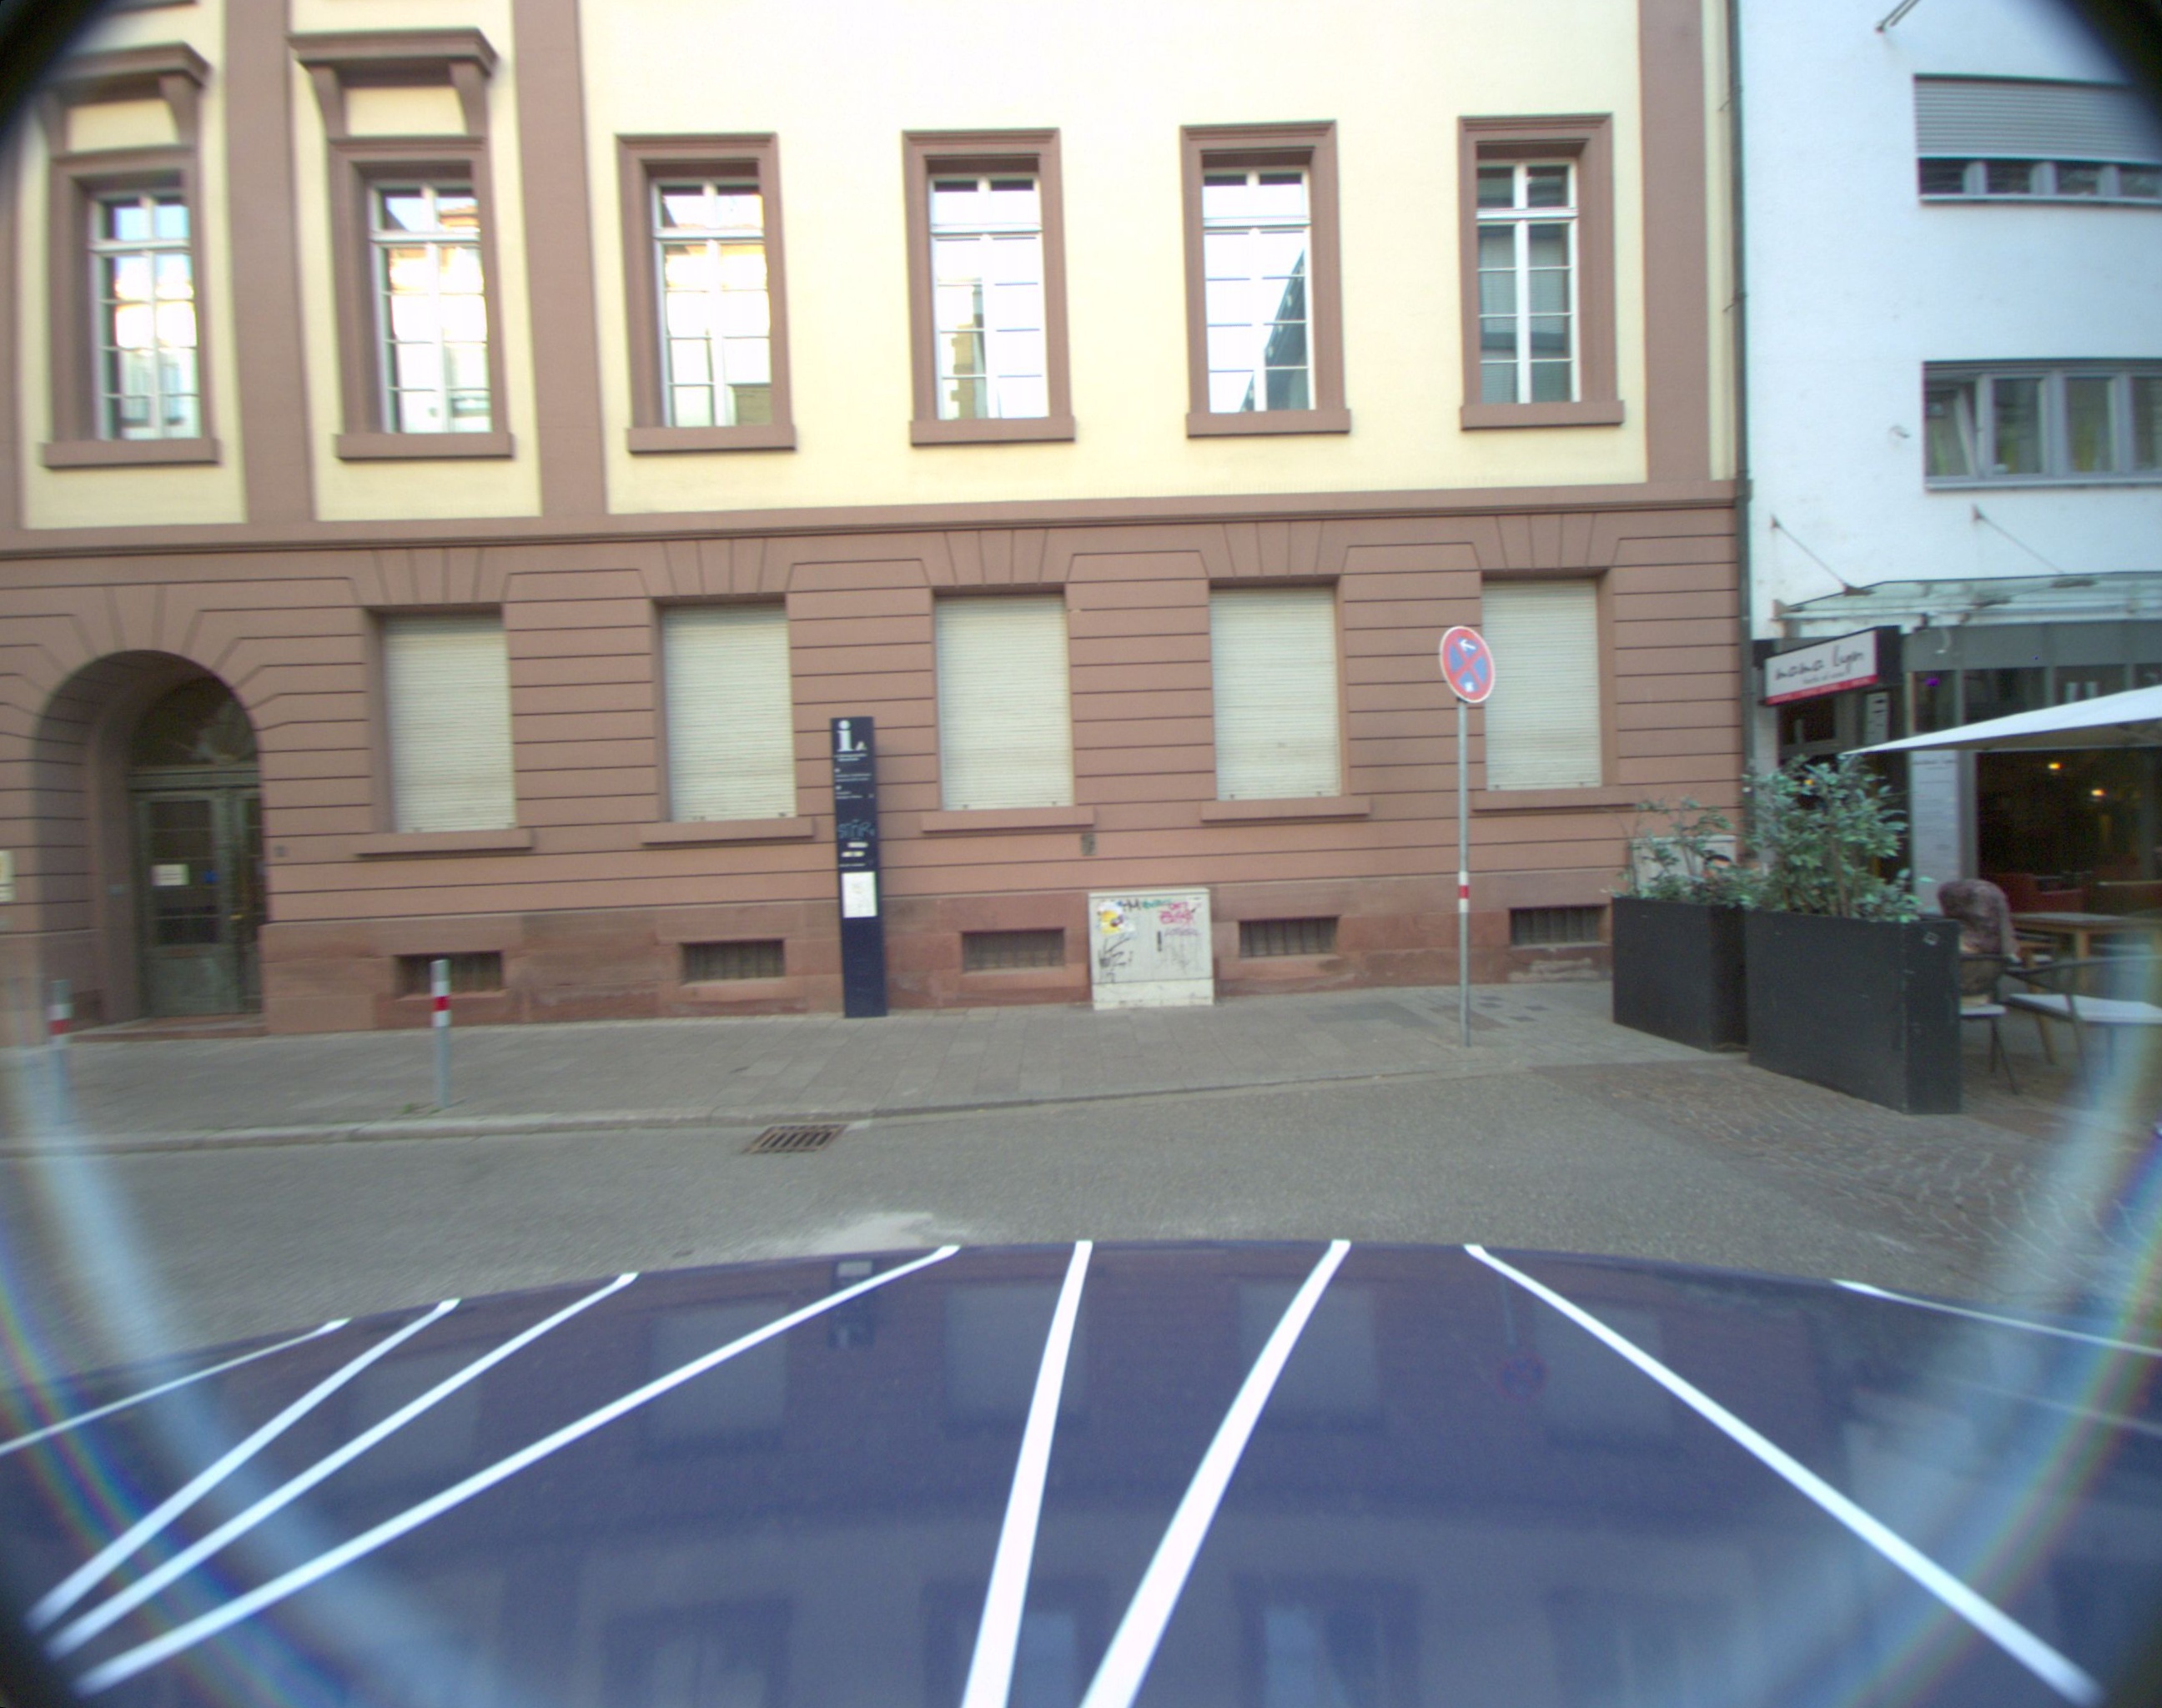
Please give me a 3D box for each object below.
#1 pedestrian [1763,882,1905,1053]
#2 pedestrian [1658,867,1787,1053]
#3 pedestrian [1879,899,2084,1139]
[{"bbox_3d":[5.734,0.841,5.808,0.549,1.204,0.524,-2,1,1],"label":"pedestrian"},{"bbox_3d":[4.890,0.782,5.814,0.549,1.341,0.489,-2,1,1],"label":"pedestrian"},{"bbox_3d":[4.918,0.874,4.174,0.562,1.205,0.461,-2,1,1],"label":"pedestrian"}]
